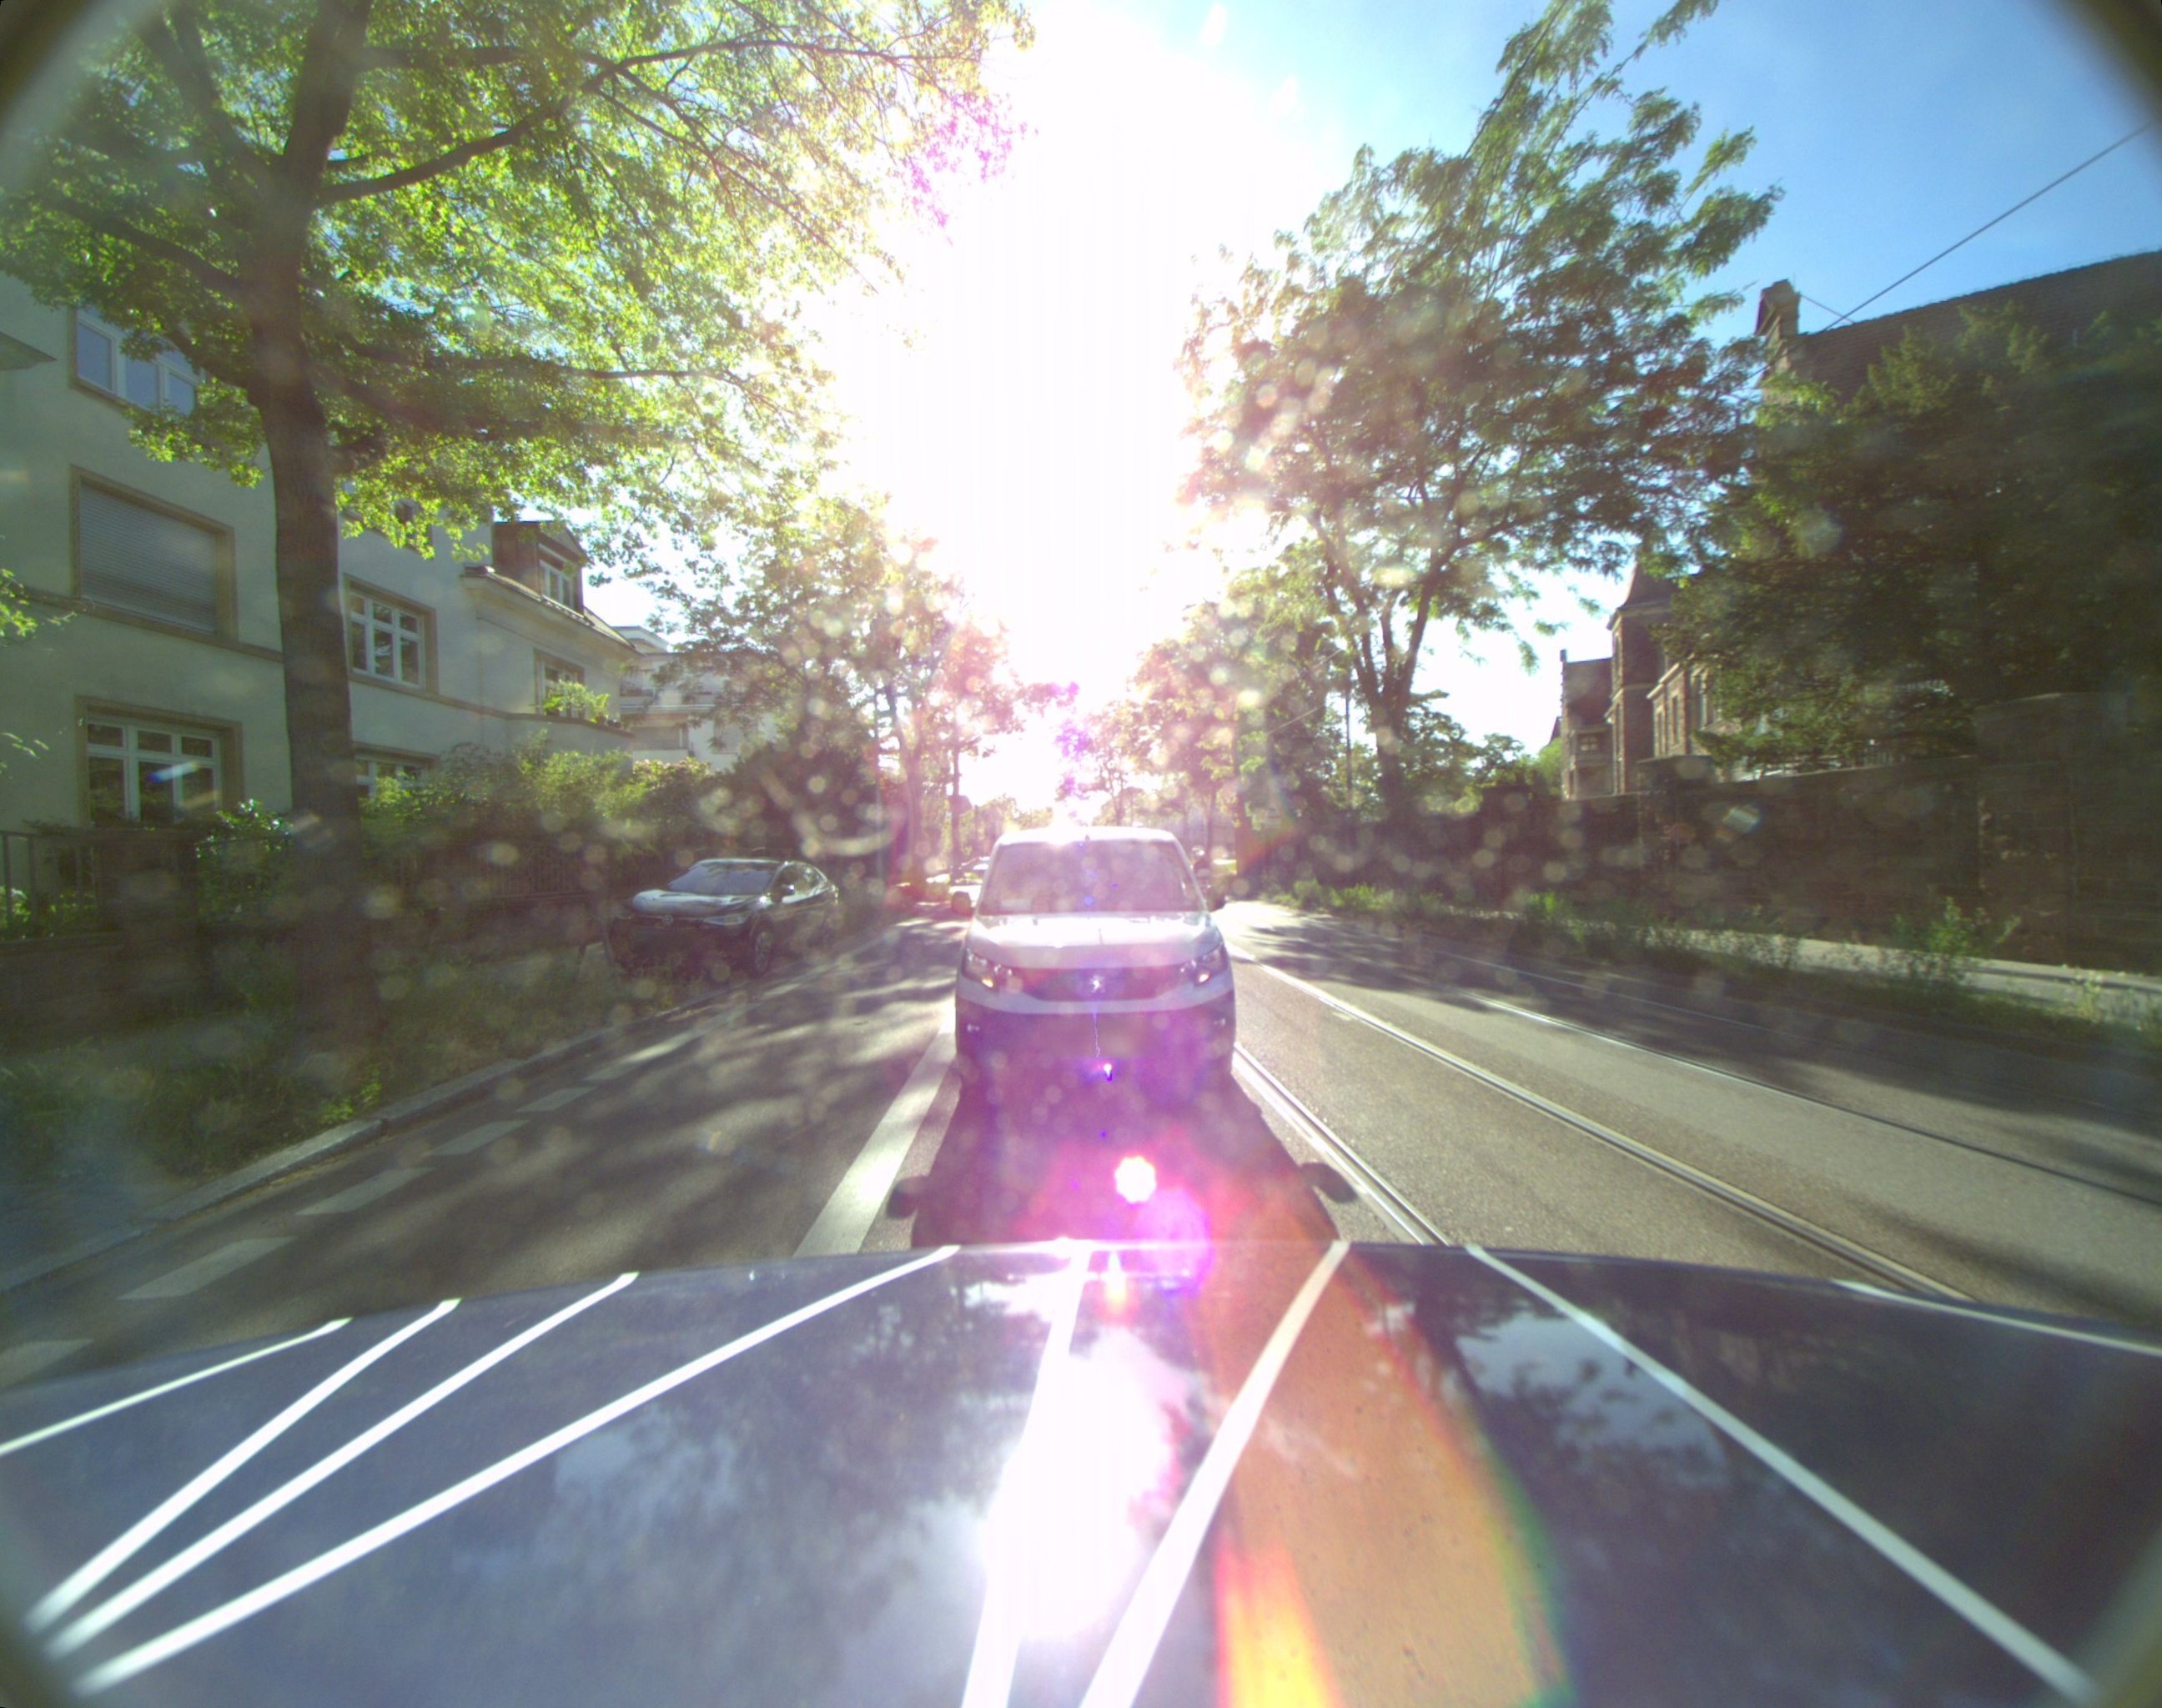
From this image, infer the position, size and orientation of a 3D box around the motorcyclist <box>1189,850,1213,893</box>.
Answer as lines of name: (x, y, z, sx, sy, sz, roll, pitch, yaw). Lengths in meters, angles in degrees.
motorcyclist: (4.123, 0.604, 26.194, 0.686, 1.432, 0.446, -2, 1, -9)

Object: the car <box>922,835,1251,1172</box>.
car: (0.023, 0.805, 6.132, 1.768, 1.812, 3.999, -1, 0, 0)

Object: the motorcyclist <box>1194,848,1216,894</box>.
motorcyclist: (4.192, 0.577, 25.699, 0.608, 1.507, 0.465, -2, 1, -9)

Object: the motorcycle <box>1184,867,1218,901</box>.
motorcycle: (4.124, 1.030, 26.258, 0.611, 1.087, 1.855, -2, 0, -8)

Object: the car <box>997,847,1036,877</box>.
car: (-4.356, 0.513, 51.776, 2.129, 1.884, 4.746, -2, 0, 1)

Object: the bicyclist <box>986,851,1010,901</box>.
bicyclist: (-2.799, 0.739, 25.698, 0.677, 1.648, 0.745, -2, 1, 1)

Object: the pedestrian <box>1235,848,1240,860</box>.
pedestrian: (29.038, -0.006, 140.739, 0.767, 2.353, 0.927, -2, 1, 13)

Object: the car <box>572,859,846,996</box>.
car: (-5.253, 0.939, 11.542, 1.999, 1.665, 4.380, 1, -1, 0)

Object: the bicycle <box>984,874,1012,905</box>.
bicycle: (-2.786, 1.173, 25.660, 0.677, 0.920, 1.885, -2, 0, 1)

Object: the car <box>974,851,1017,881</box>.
car: (-5.041, 0.669, 45.216, 1.823, 1.630, 4.001, -2, 0, 4)
